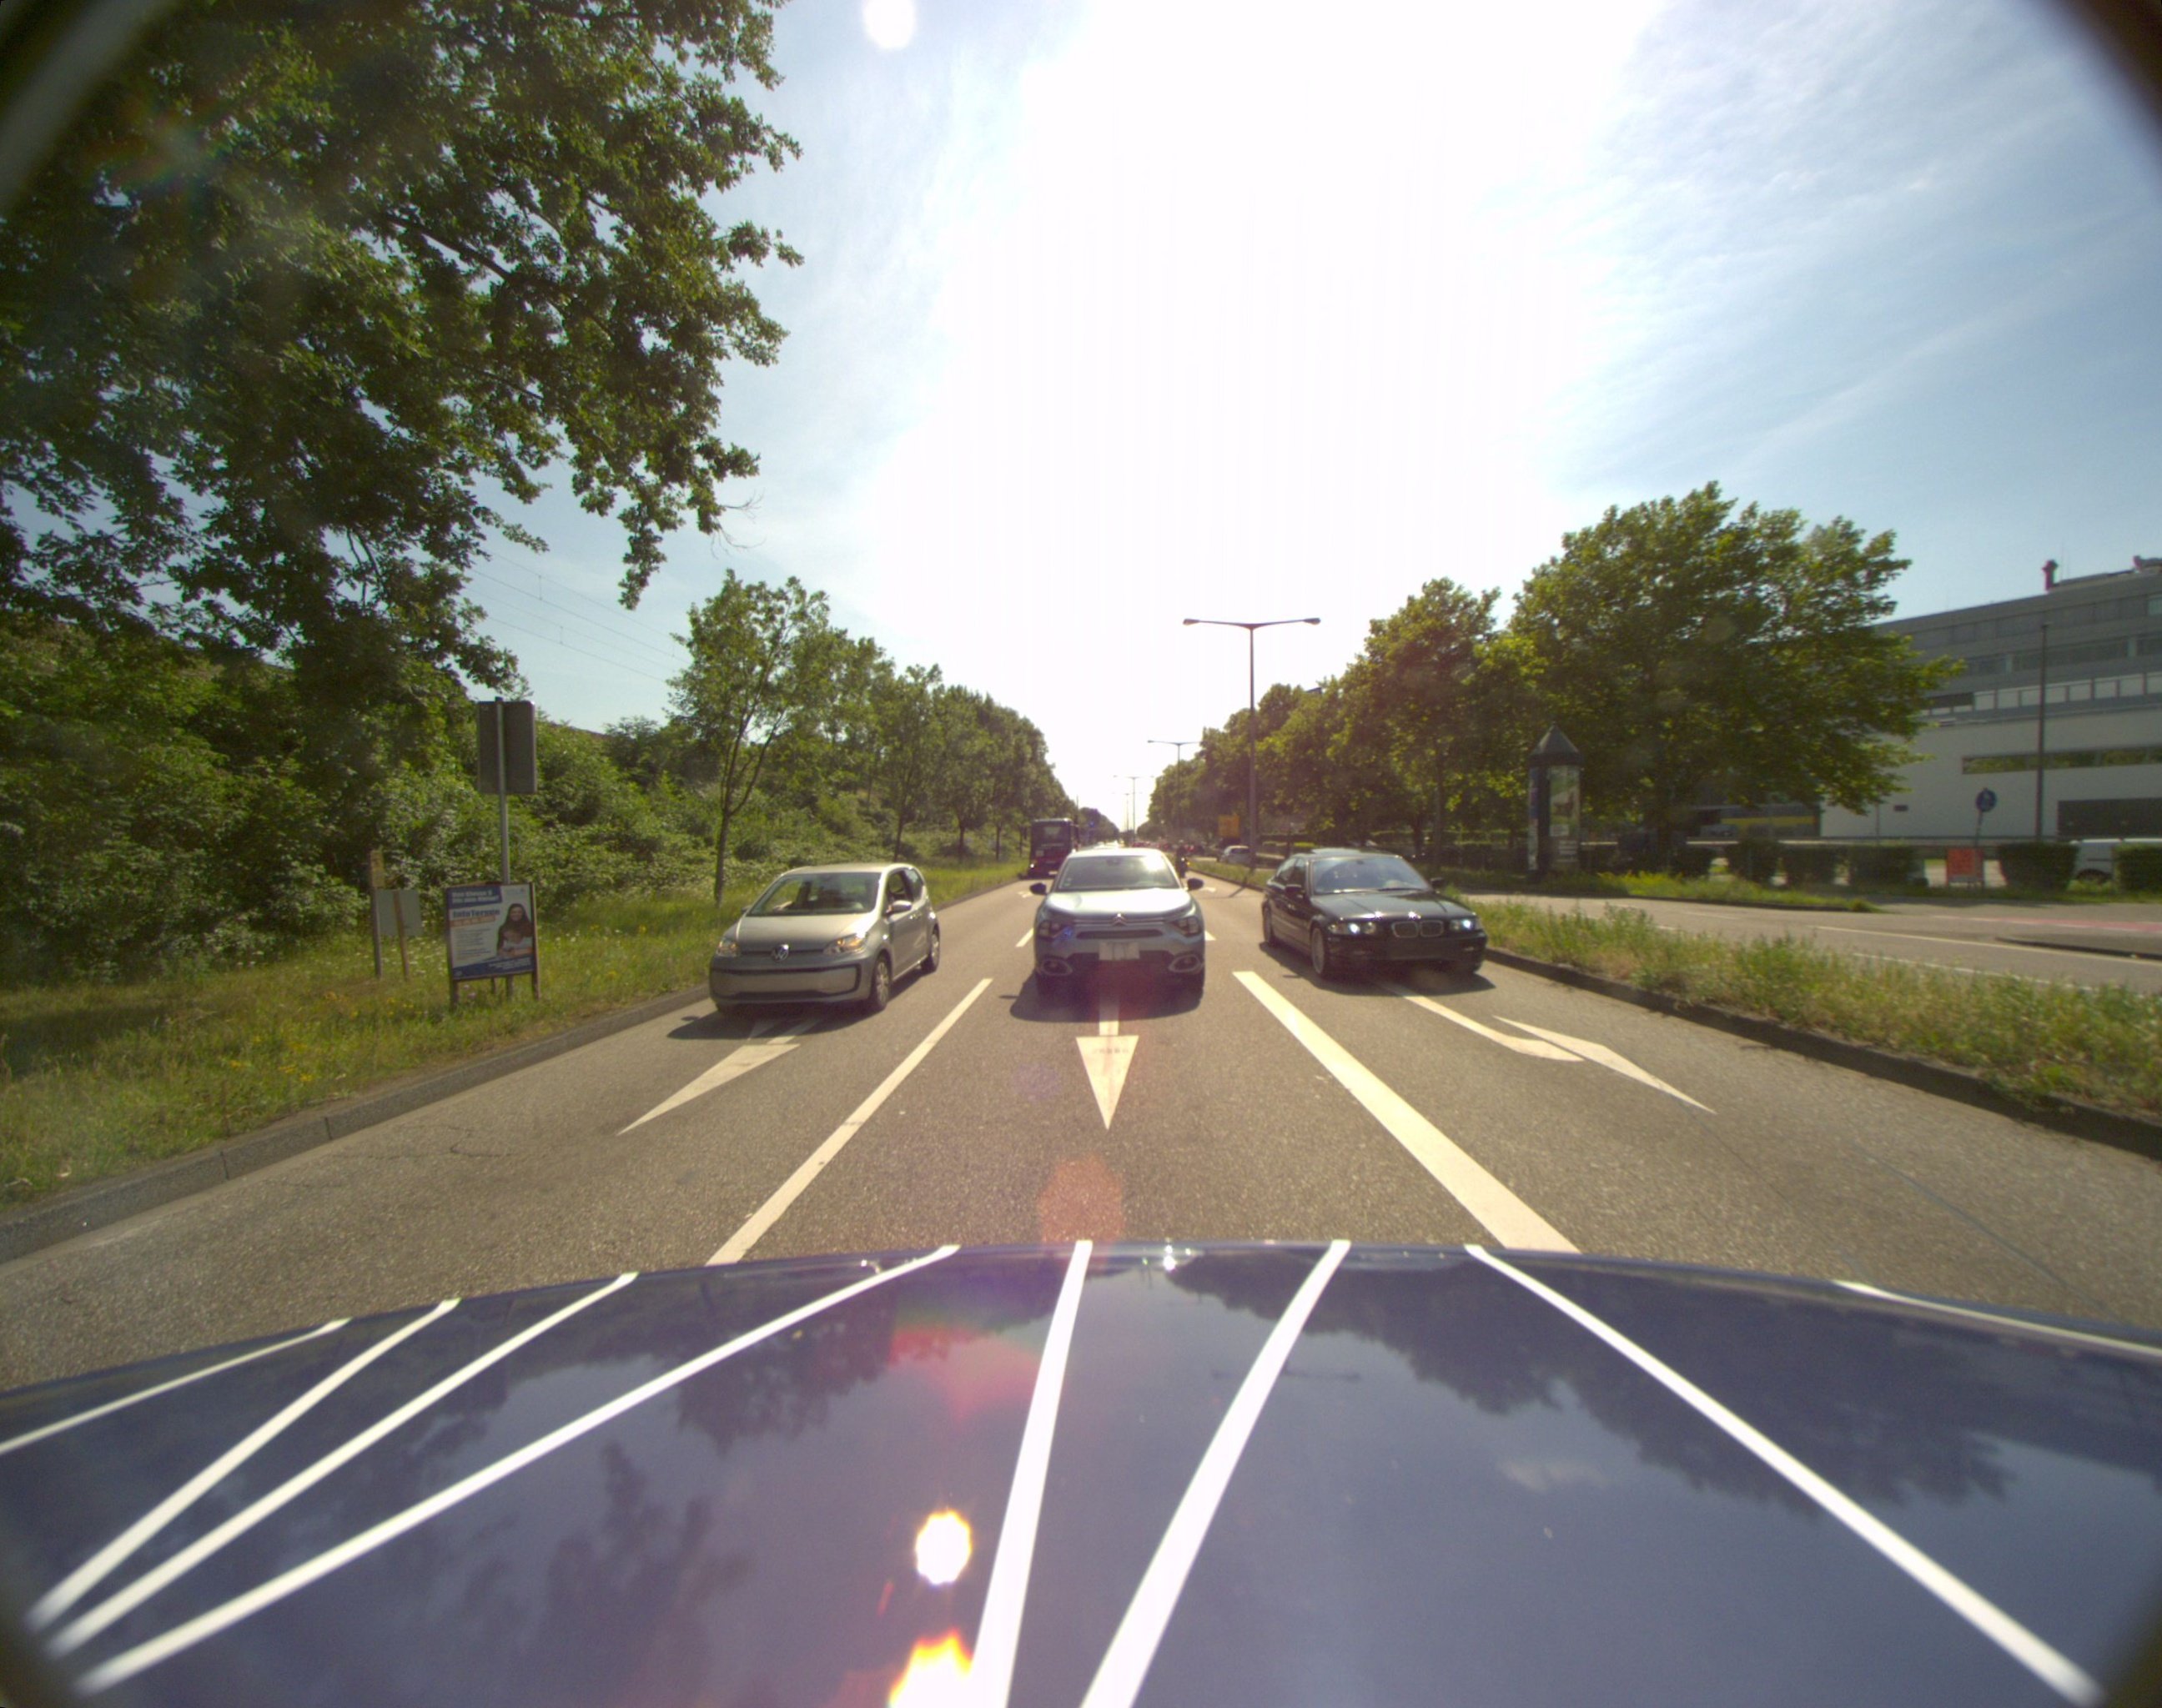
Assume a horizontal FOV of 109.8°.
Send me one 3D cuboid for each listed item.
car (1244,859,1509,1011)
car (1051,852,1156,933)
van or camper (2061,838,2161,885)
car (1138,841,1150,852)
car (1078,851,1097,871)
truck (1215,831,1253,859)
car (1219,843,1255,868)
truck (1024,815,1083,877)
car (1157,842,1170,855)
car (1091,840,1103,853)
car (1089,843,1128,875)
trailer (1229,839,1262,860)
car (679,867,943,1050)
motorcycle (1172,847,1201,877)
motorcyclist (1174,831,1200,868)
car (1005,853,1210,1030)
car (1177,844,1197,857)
[{"bbox_3d":[3.335,0.808,9.486,1.730,1.354,4.067,-2,1,1],"label":"car"},{"bbox_3d":[0.489,0.748,16.641,1.998,1.492,4.000,-1,1,2],"label":"car"},{"bbox_3d":[39.974,0.264,28.085,2.004,1.682,4.500,-2,1,-36],"label":"van or camper"},{"bbox_3d":[11.479,-1.383,139.436,1.998,2.002,4.000,-1,1,2],"label":"car"},{"bbox_3d":[0.767,0.757,82.803,1.998,2.002,4.000,-1,1,2],"label":"car"},{"bbox_3d":[14.061,-0.845,70.284,2.145,2.461,7.128,-1,1,1],"label":"truck"},{"bbox_3d":[10.055,0.078,49.126,1.653,1.505,3.735,-1,1,2],"label":"car"},{"bbox_3d":[-1.446,-0.479,43.820,2.775,3.248,7.482,-1,1,2],"label":"truck"},{"bbox_3d":[13.859,-0.923,127.742,1.998,2.002,4.000,-1,1,2],"label":"car"},{"bbox_3d":[2.799,-1.273,129.037,1.998,2.002,4.000,-1,1,2],"label":"car"},{"bbox_3d":[1.444,0.201,38.895,1.825,1.521,4.548,-1,1,3],"label":"car"},{"bbox_3d":[13.940,-0.382,64.668,2.067,1.706,3.990,-1,1,2],"label":"trailer"},{"bbox_3d":[-2.740,0.968,8.647,1.705,1.429,3.677,-3,1,-2],"label":"car"},{"bbox_3d":[4.952,0.355,35.727,1.051,1.343,2.331,-1,1,1],"label":"motorcycle"},{"bbox_3d":[4.957,-0.209,35.673,1.066,1.689,1.042,-1,1,1],"label":"motorcyclist"},{"bbox_3d":[0.362,0.793,9.237,1.825,1.521,4.752,-1,1,3],"label":"car"},{"bbox_3d":[12.190,-0.463,87.519,1.852,1.426,3.766,-1,1,1],"label":"car"}]
